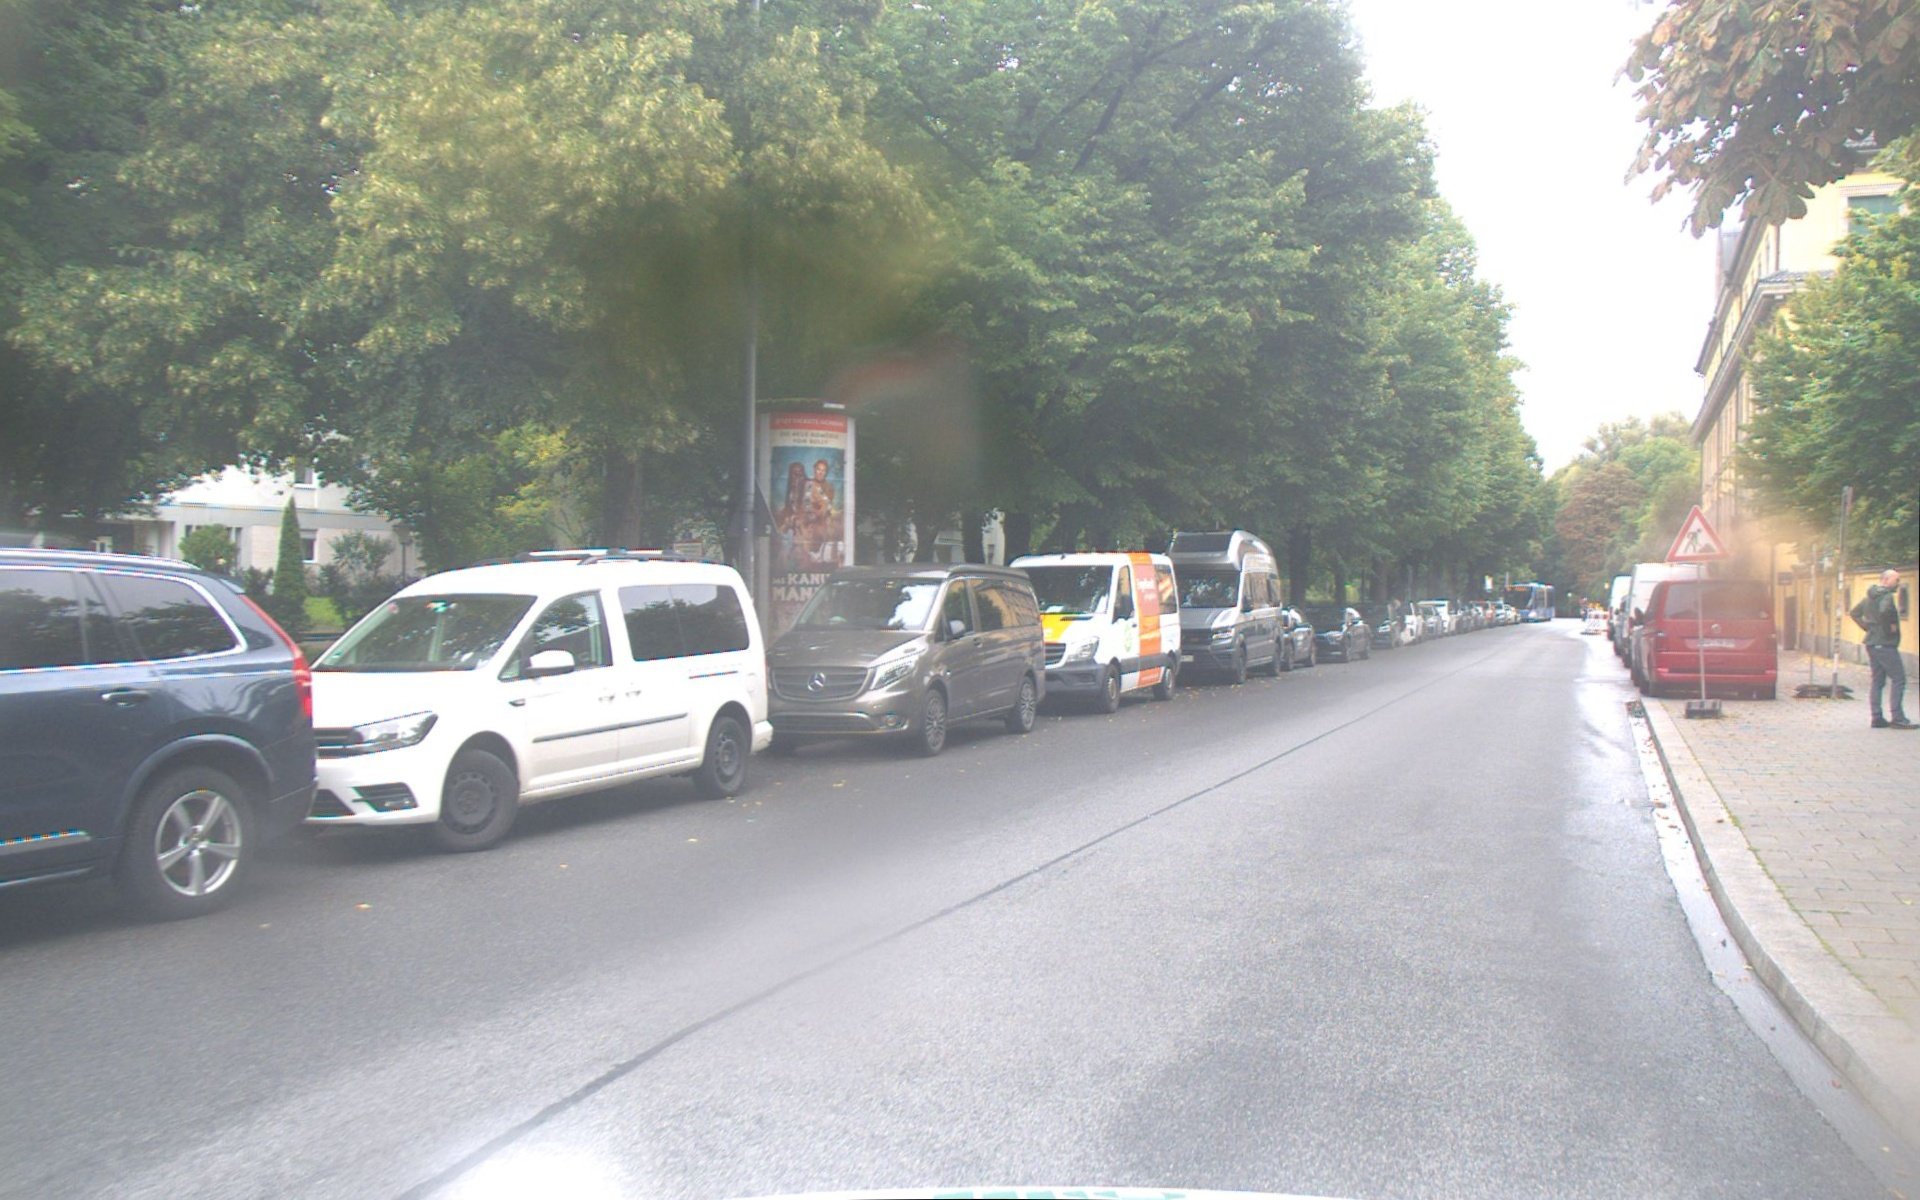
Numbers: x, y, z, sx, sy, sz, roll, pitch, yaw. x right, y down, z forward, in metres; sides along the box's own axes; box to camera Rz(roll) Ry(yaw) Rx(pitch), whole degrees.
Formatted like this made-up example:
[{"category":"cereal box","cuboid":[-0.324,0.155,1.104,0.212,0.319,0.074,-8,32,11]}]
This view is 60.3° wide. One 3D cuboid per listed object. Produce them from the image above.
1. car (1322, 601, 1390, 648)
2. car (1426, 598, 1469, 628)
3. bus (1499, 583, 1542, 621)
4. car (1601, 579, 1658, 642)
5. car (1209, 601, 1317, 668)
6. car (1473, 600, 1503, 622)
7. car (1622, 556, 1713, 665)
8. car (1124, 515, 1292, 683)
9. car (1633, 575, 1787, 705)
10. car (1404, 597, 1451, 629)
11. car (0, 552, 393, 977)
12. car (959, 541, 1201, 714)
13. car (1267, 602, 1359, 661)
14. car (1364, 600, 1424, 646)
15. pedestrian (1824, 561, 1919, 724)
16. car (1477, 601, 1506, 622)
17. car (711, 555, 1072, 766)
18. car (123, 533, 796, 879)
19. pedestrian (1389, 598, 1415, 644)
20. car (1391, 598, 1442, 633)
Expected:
[{"category":"car","cuboid":[13.595,0.814,56.660,1.952,1.513,4.131,0,0,18]},{"category":"car","cuboid":[24.307,0.629,82.436,1.952,1.445,4.002,0,0,18]},{"category":"bus","cuboid":[45.982,0.134,135.797,2.875,2.970,8.245,1,0,16]},{"category":"car","cuboid":[29.094,0.425,71.995,1.800,2.668,4.387,0,0,16]},{"category":"car","cuboid":[7.143,0.766,38.671,1.952,1.445,4.002,0,0,18]},{"category":"car","cuboid":[35.932,0.749,112.518,1.952,1.445,4.002,0,0,18]},{"category":"car","cuboid":[18.069,0.252,42.429,1.952,2.603,5.430,0,0,21]},{"category":"car","cuboid":[5.129,-0.031,33.343,2.128,3.055,6.234,0,0,20]},{"category":"car","cuboid":[12.440,0.600,27.710,1.871,1.971,4.971,0,0,19]},{"category":"car","cuboid":[21.969,0.599,77.576,1.952,1.445,4.002,0,0,18]},{"category":"car","cuboid":[-5.034,0.673,6.876,2.042,1.749,5.303,0,0,23]},{"category":"car","cuboid":[1.980,0.390,25.029,2.041,2.304,5.602,-2,-1,21]},{"category":"car","cuboid":[9.393,0.789,43.756,1.952,1.445,4.131,0,0,18]},{"category":"car","cuboid":[16.461,0.848,62.590,1.952,1.648,4.131,0,0,18]},{"category":"pedestrian","cuboid":[10.824,0.484,19.444,0.804,1.868,0.951,0,0,-6]},{"category":"car","cuboid":[37.741,0.773,117.477,1.952,1.445,4.002,0,0,18]},{"category":"car","cuboid":[-0.503,0.574,18.250,1.984,1.941,5.668,-1,0,20]},{"category":"car","cuboid":[-3.220,0.588,11.899,2.041,1.937,4.858,0,0,22]},{"category":"pedestrian","cuboid":[15.753,0.737,59.021,0.865,1.626,0.824,0,0,14]},{"category":"car","cuboid":[19.885,0.640,71.942,1.952,1.445,4.002,0,0,18]}]
